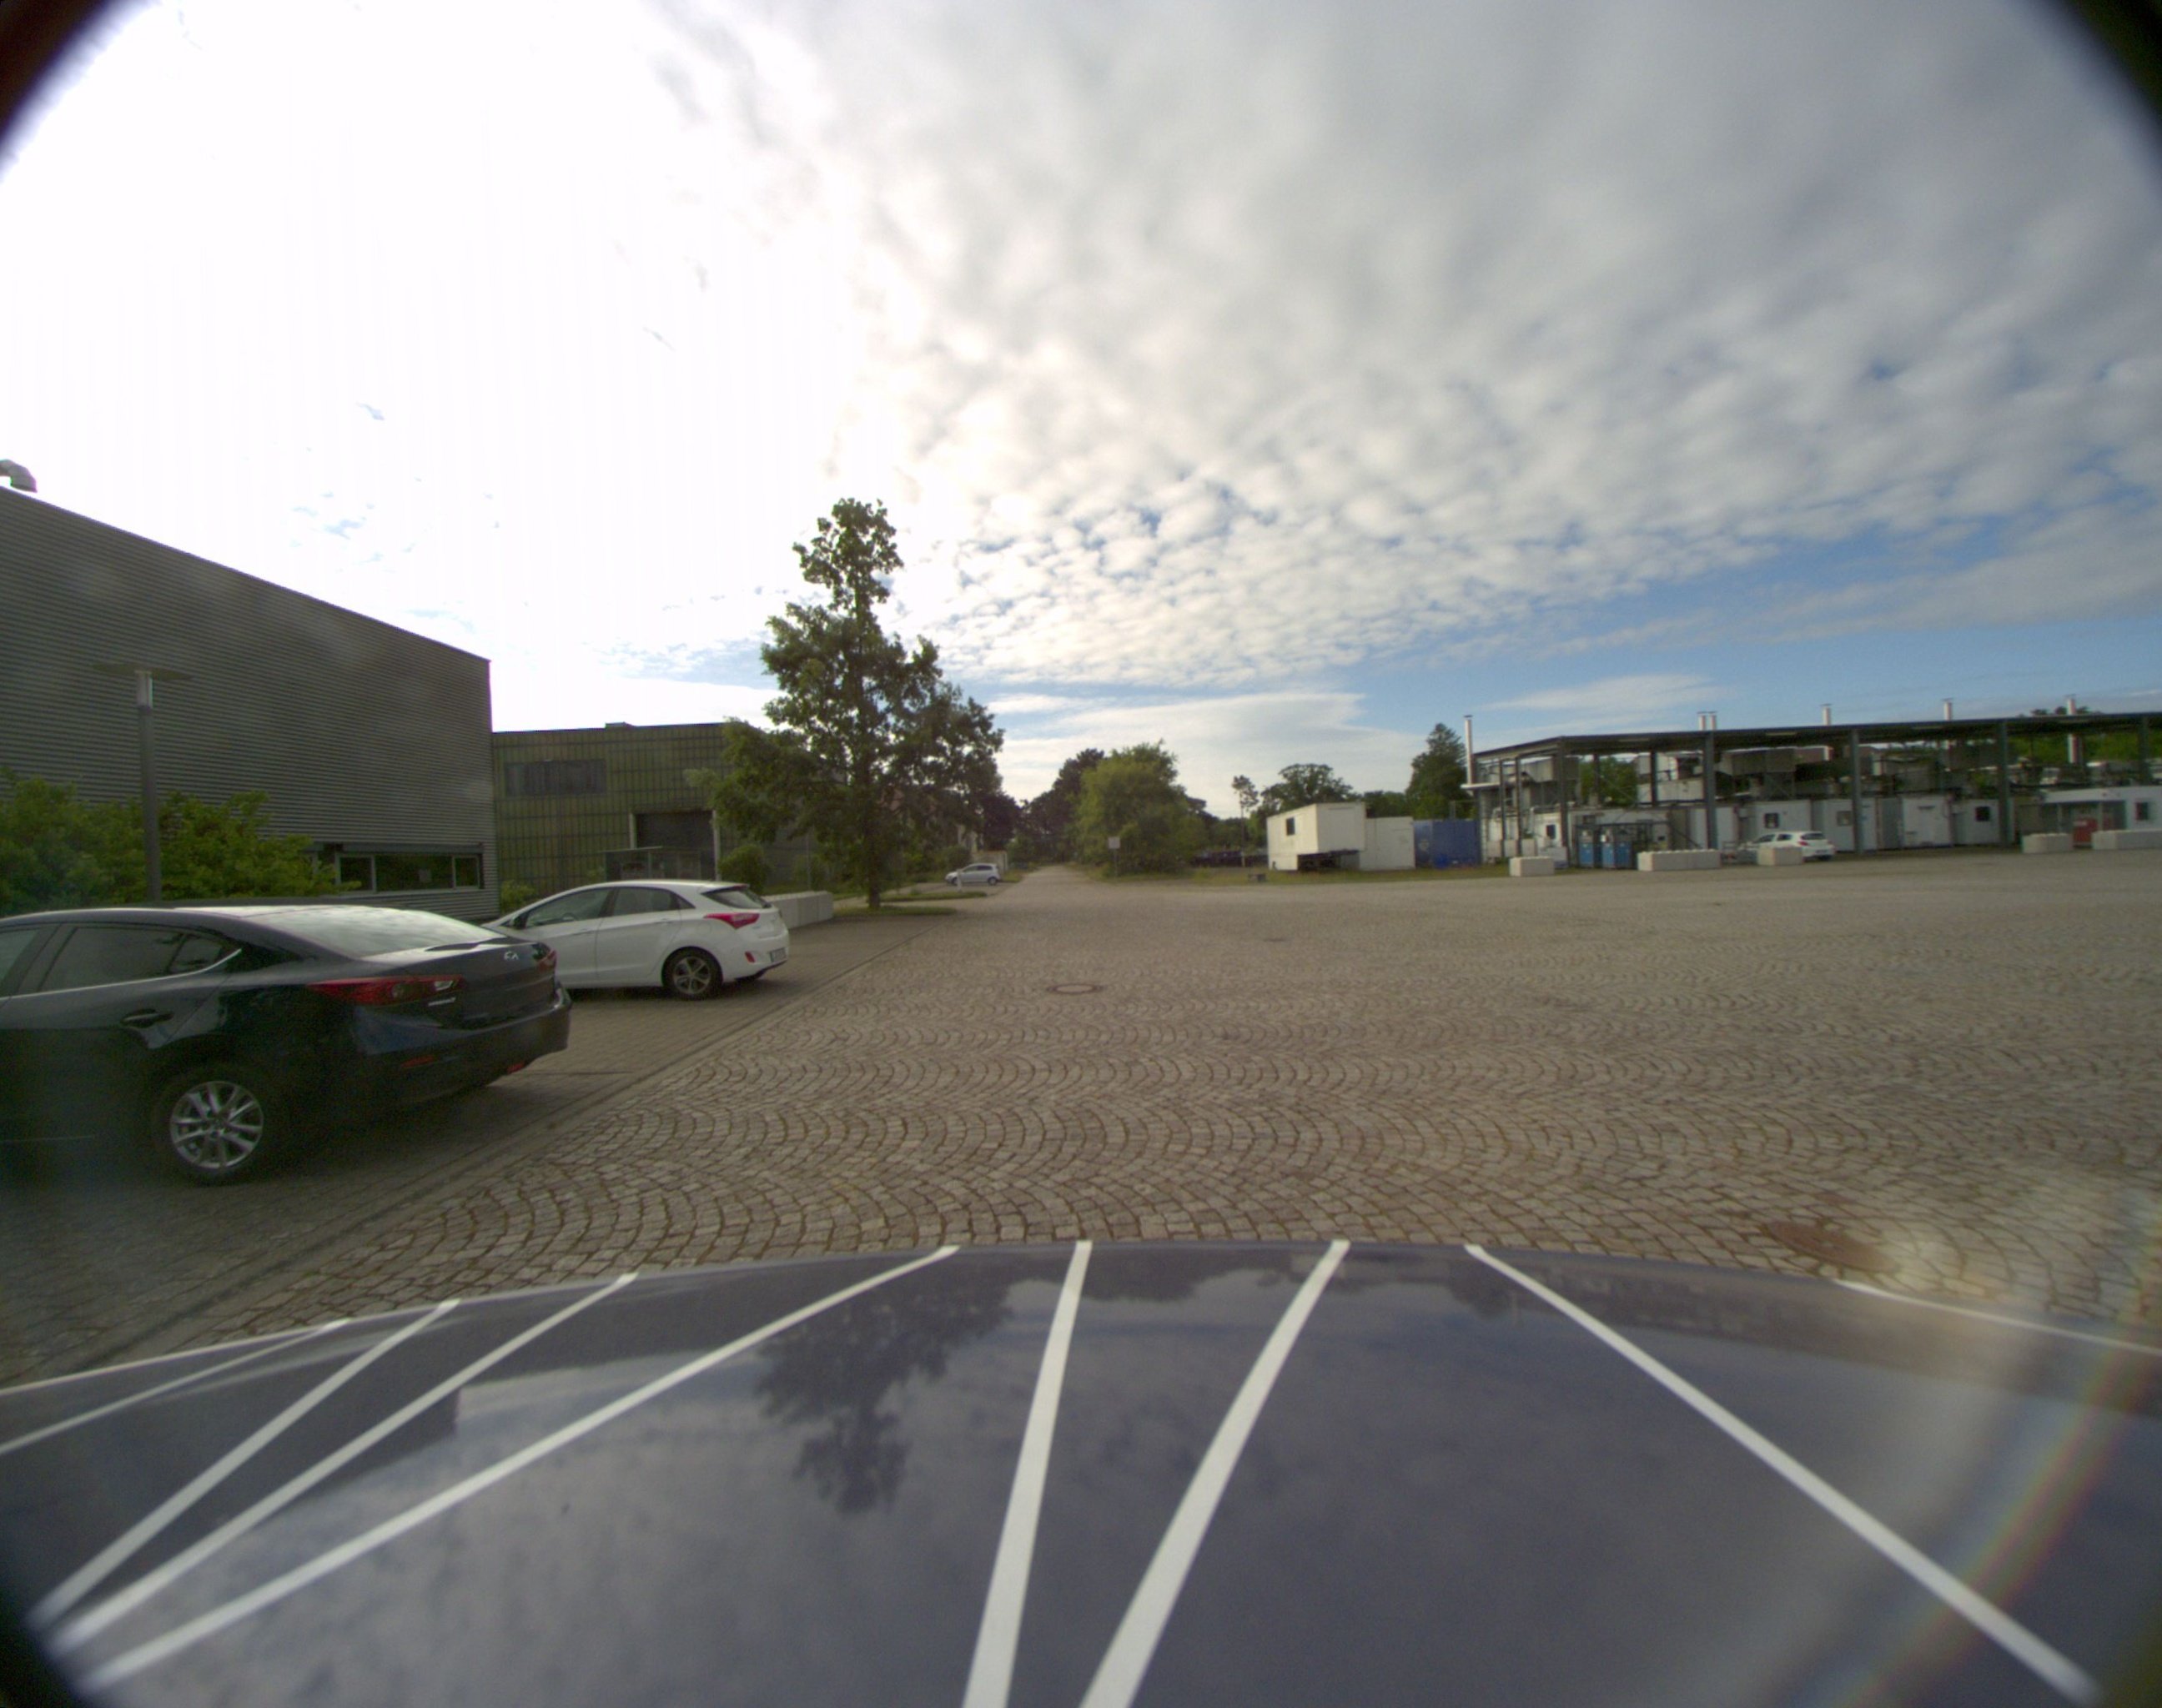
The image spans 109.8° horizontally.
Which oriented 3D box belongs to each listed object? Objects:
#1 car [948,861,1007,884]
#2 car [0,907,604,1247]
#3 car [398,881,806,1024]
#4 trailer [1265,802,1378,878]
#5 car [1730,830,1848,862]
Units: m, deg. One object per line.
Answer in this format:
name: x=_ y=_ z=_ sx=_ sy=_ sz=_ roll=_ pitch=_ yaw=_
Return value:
car: x=-7.570 y=1.345 z=56.001 sx=4.133 sy=1.615 sz=1.938 roll=-1 pitch=0 yaw=-4
car: x=-5.724 y=1.152 z=4.520 sx=4.476 sy=1.438 sz=1.944 roll=-1 pitch=0 yaw=-2
car: x=-5.910 y=1.174 z=9.809 sx=3.986 sy=1.458 sz=1.882 roll=-2 pitch=0 yaw=-2
trailer: x=13.207 y=-0.645 z=42.953 sx=2.876 sy=3.640 sz=10.777 roll=-2 pitch=0 yaw=0
car: x=34.703 y=-0.380 z=37.414 sx=1.933 sy=1.464 sz=3.998 roll=-1 pitch=0 yaw=-4
